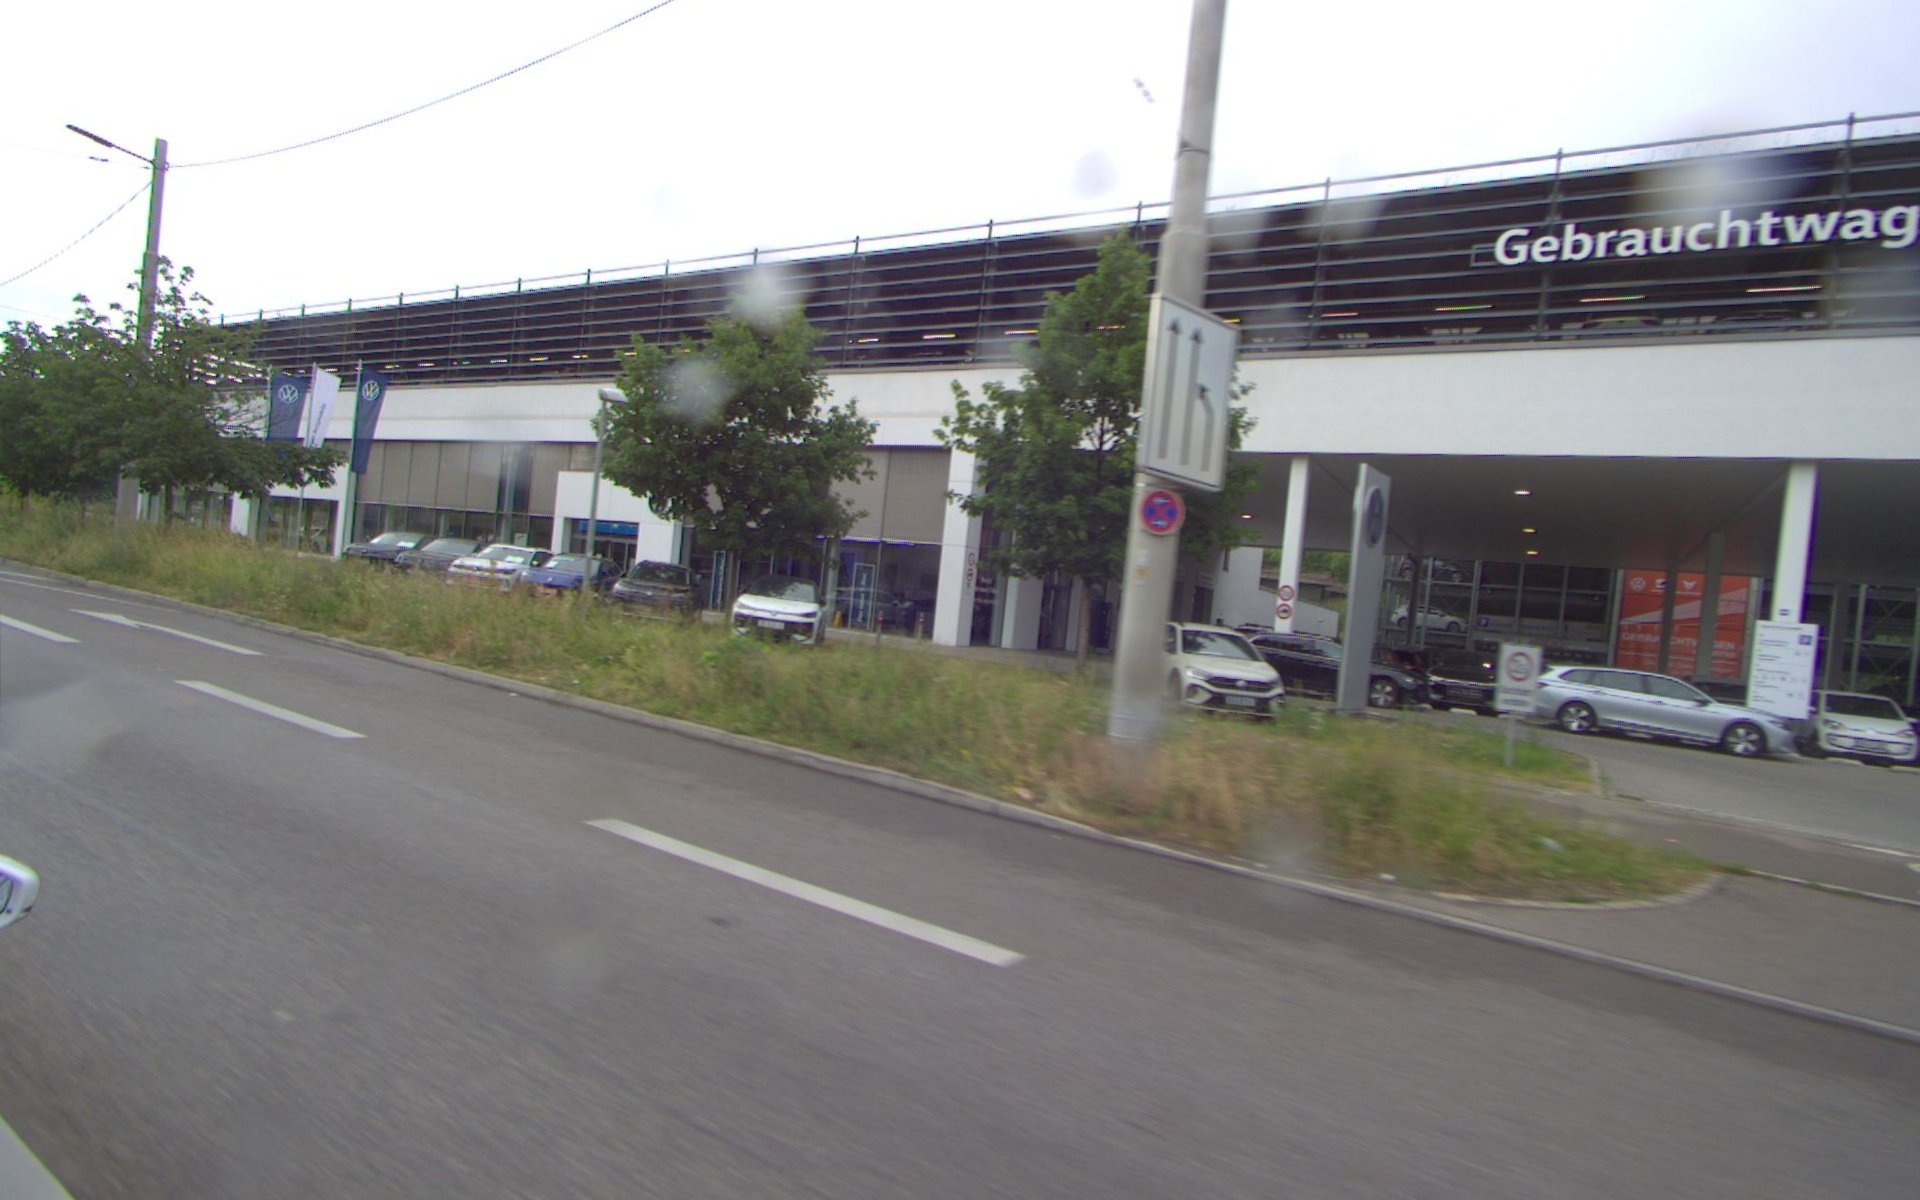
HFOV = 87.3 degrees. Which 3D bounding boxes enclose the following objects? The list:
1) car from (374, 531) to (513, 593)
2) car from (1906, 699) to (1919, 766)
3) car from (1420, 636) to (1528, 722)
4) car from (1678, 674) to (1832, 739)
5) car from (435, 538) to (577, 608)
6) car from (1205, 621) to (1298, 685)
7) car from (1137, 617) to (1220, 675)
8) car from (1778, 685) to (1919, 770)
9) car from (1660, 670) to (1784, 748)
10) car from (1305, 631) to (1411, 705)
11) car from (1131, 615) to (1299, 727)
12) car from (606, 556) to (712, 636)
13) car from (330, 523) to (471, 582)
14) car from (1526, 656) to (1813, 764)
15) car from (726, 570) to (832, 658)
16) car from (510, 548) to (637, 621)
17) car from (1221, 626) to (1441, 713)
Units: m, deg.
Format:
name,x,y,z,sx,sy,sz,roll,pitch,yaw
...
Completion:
name,x,y,z,sx,sy,sz,roll,pitch,yaw
car,-15.364,-1.083,30.213,1.765,1.589,4.373,5,1,1
car,21.449,2.951,20.815,1.734,1.463,3.991,7,0,30
car,13.058,2.036,25.434,1.860,1.747,3.994,7,-3,33
car,28.065,3.725,35.683,3.933,1.612,1.807,7,1,31
car,-12.696,-0.728,28.460,1.821,1.647,4.353,5,1,2
car,8.652,1.580,29.671,1.611,1.607,3.820,7,0,30
car,6.742,1.403,30.780,1.702,1.470,3.826,7,0,23
car,19.828,2.753,22.413,1.734,1.442,3.991,7,0,30
car,17.997,2.511,23.930,1.734,1.442,3.991,7,0,30
car,10.728,1.862,26.968,1.757,1.525,3.994,7,-3,33
car,4.305,1.131,17.660,1.716,1.484,4.097,5,1,-1
car,-7.109,-0.136,24.123,1.768,1.589,4.181,5,1,-9
car,-18.131,-1.479,32.867,1.817,1.589,4.624,5,1,2
car,14.602,2.205,21.096,4.618,1.487,1.895,6,2,31
car,-3.843,0.236,21.938,1.767,1.589,4.094,5,1,-5
car,-9.944,-0.409,26.213,1.766,1.589,4.186,5,1,-3
car,8.895,1.604,24.258,4.616,1.487,1.780,6,2,31
